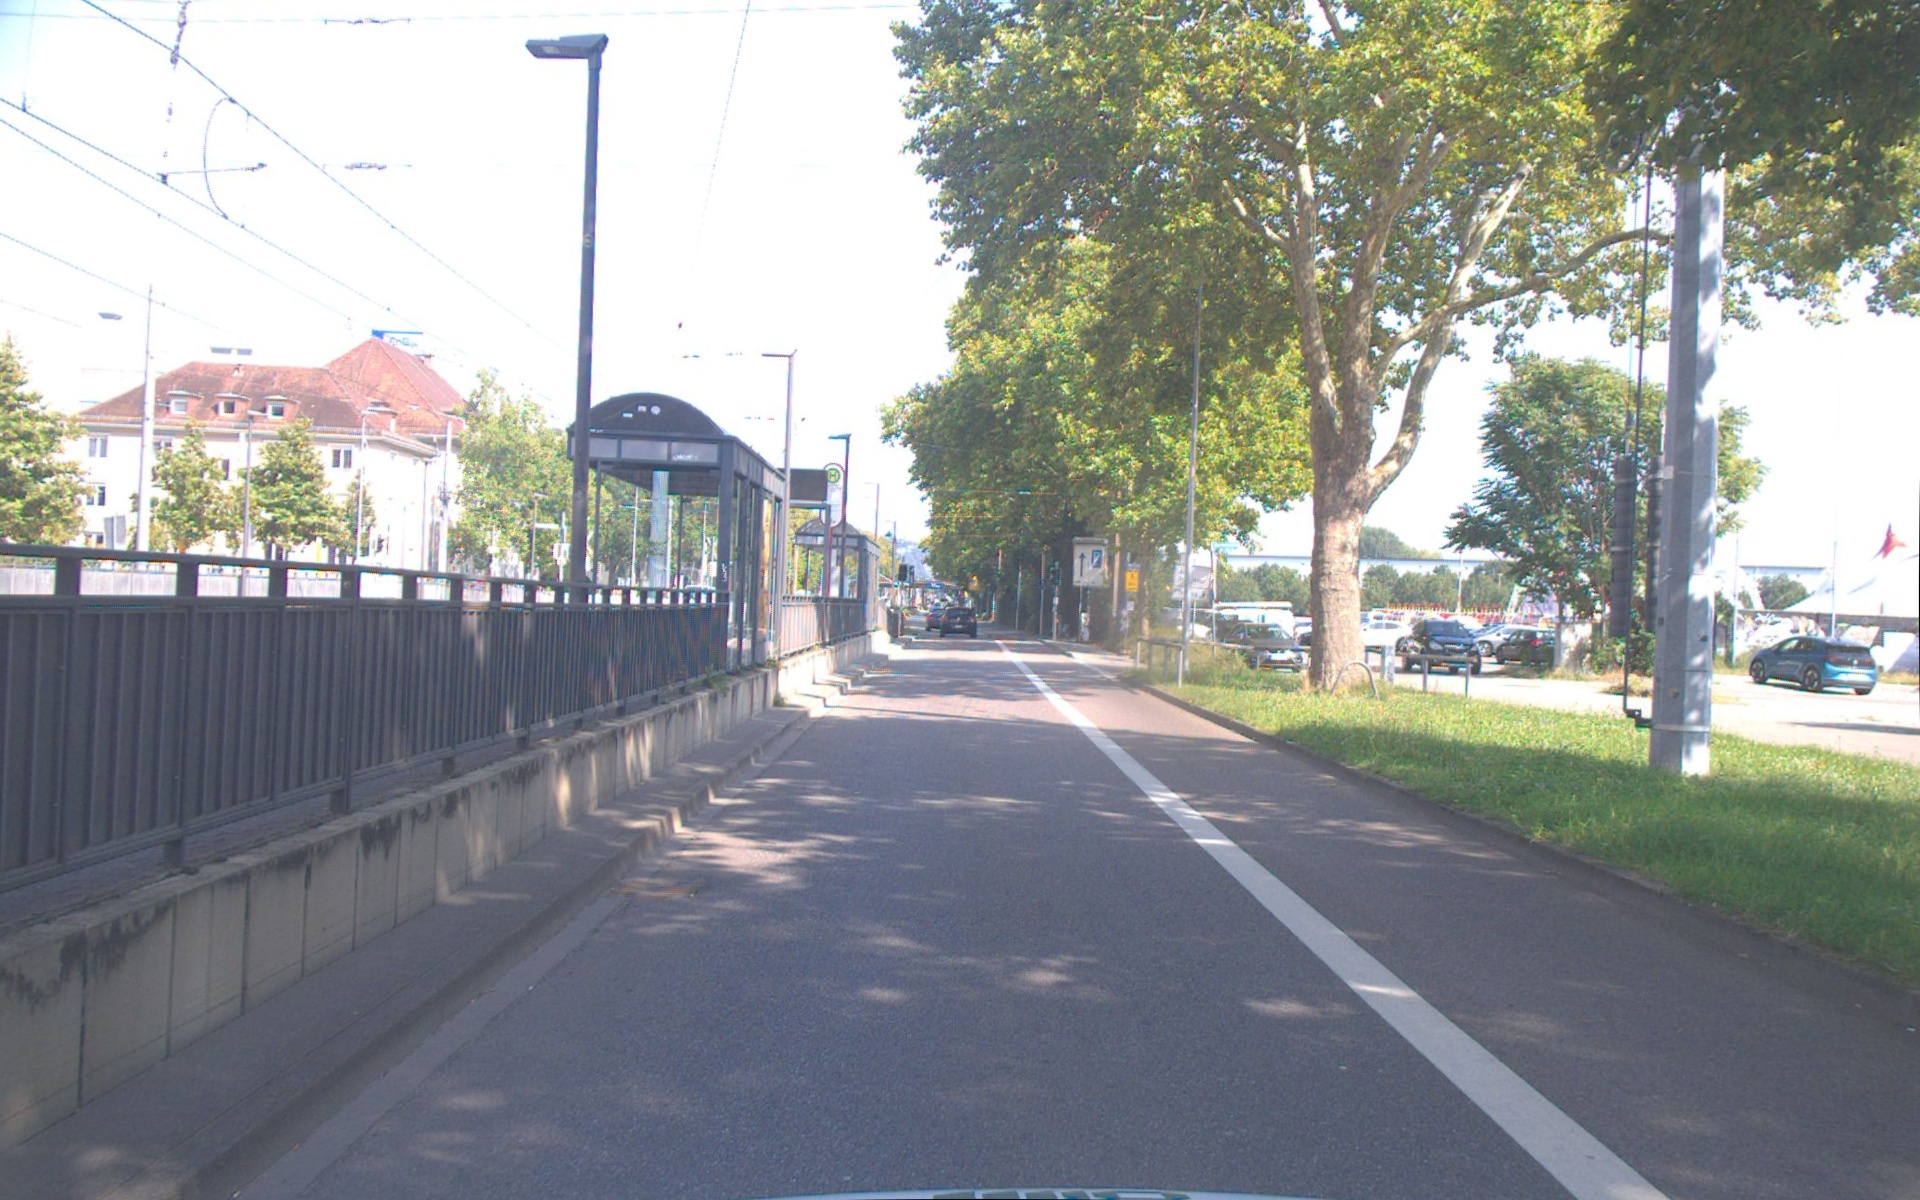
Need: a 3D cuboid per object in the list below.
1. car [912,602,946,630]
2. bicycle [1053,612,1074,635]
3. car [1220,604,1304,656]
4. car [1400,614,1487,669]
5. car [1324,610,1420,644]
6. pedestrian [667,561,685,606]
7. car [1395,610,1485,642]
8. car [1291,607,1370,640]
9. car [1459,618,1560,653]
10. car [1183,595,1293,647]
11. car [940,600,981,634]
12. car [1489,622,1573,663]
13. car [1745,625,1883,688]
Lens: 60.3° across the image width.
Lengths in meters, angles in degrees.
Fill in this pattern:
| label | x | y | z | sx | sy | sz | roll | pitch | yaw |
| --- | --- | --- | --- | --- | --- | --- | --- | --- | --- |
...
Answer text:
| label | x | y | z | sx | sy | sz | roll | pitch | yaw |
| --- | --- | --- | --- | --- | --- | --- | --- | --- | --- |
| car | -1.860 | 0.931 | 98.979 | 1.933 | 1.564 | 3.999 | -1 | 0 | -2 |
| bicycle | 4.985 | 1.128 | 79.754 | 0.598 | 1.039 | 2.400 | 3 | 0 | -5 |
| car | 9.220 | 0.887 | 50.806 | 1.692 | 1.474 | 4.550 | 1 | 0 | 0 |
| car | 15.224 | 1.290 | 52.243 | 1.575 | 1.603 | 3.796 | 1 | 0 | -1 |
| car | 20.693 | 1.339 | 83.088 | 4.257 | 1.489 | 1.946 | 3 | 0 | -3 |
| pedestrian | -11.889 | -0.702 | 69.276 | 0.694 | 1.853 | 0.771 | 1 | -1 | -10 |
| car | 25.956 | 1.374 | 89.548 | 4.257 | 1.489 | 1.946 | 3 | 0 | -3 |
| car | 22.501 | 1.422 | 100.423 | 4.257 | 1.742 | 1.946 | 3 | 0 | -3 |
| car | 26.914 | 1.739 | 81.135 | 4.300 | 1.489 | 1.948 | 2 | 0 | 3 |
| car | 10.804 | 0.797 | 64.403 | 4.018 | 1.952 | 1.848 | 1 | 0 | 2 |
| car | 0.001 | 0.808 | 79.249 | 1.869 | 1.564 | 3.999 | 1 | 0 | -1 |
| car | 22.354 | 1.659 | 64.931 | 1.777 | 1.420 | 4.116 | 3 | 0 | -1 |
| car | 25.228 | 1.641 | 48.990 | 1.671 | 1.603 | 3.952 | 3 | 0 | -6 |
